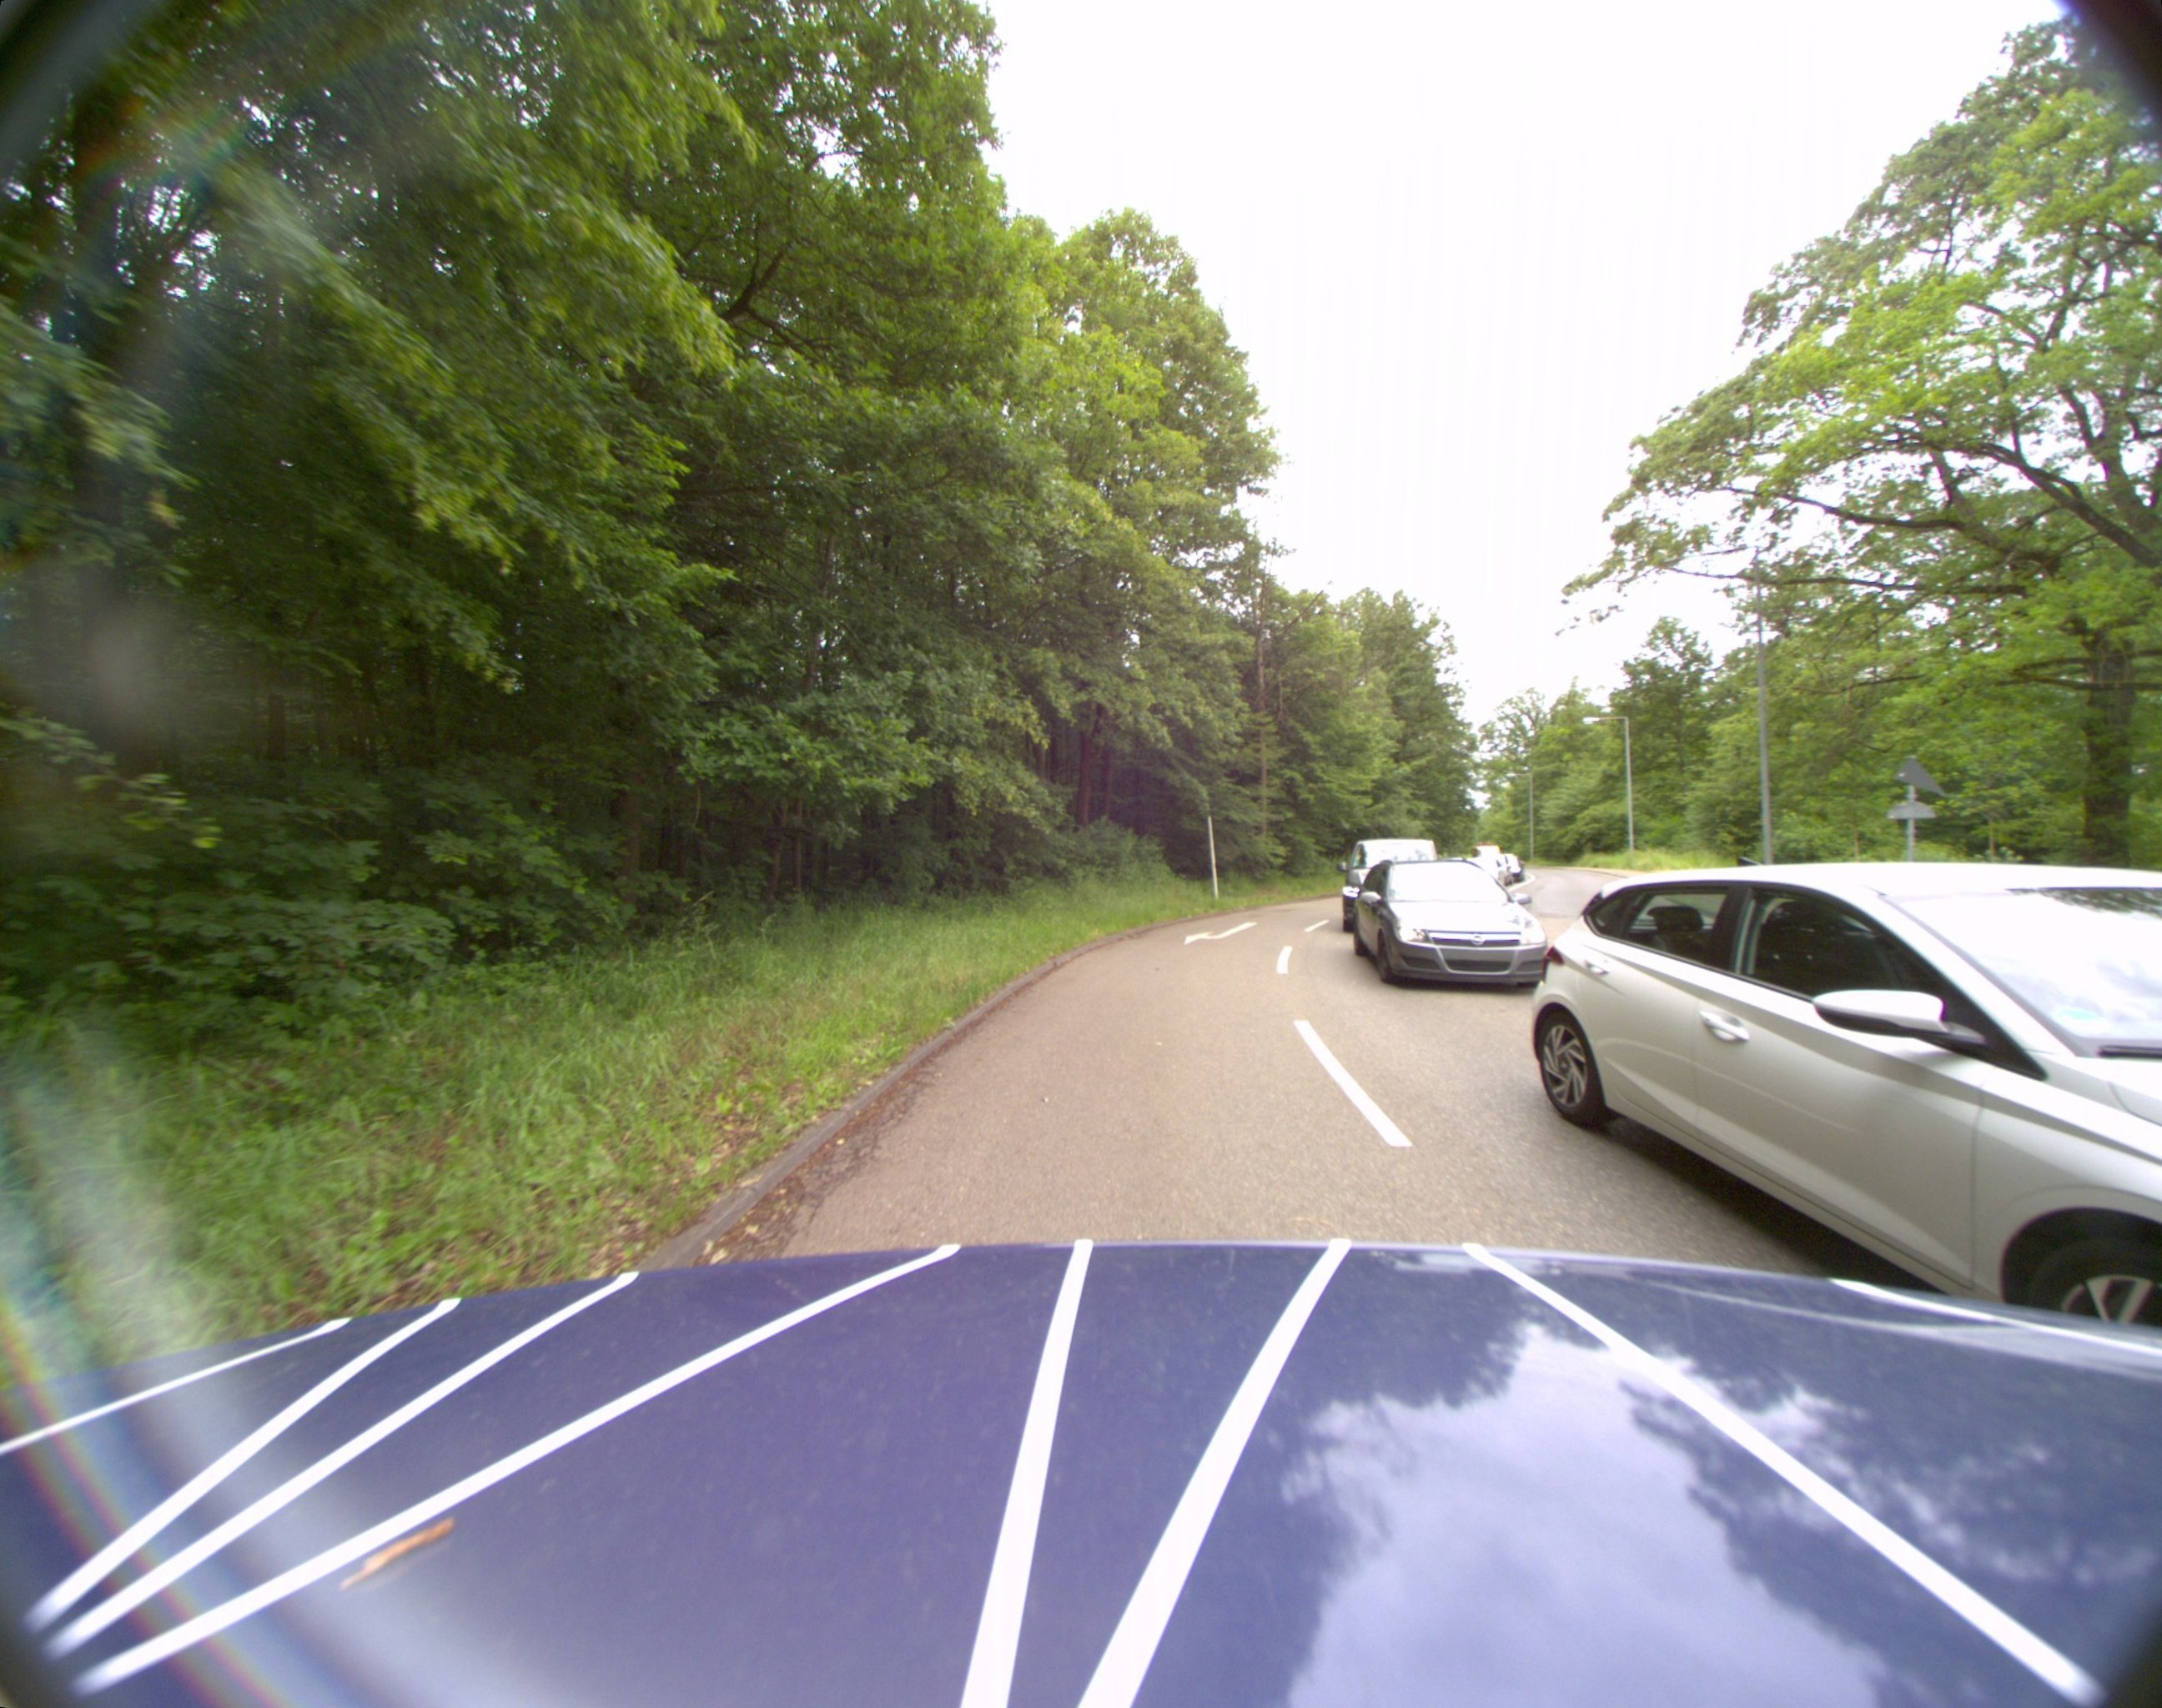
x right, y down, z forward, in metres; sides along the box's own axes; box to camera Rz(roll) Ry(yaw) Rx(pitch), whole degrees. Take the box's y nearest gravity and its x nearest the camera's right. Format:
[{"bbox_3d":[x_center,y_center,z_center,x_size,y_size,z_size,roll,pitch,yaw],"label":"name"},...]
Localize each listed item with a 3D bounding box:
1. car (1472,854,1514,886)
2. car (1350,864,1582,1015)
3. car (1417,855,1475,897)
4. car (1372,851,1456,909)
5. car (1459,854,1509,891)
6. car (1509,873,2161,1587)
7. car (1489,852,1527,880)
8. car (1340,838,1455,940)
[{"bbox_3d":[20.716,0.761,38.175,1.775,1.491,3.880,0,0,29],"label":"car"},{"bbox_3d":[4.705,0.890,9.999,1.801,1.470,4.475,0,0,15],"label":"car"},{"bbox_3d":[14.090,0.798,29.218,1.775,1.491,3.880,0,0,29],"label":"car"},{"bbox_3d":[10.563,0.765,23.952,1.789,1.664,3.999,-1,0,32],"label":"car"},{"bbox_3d":[17.180,0.755,32.338,1.775,1.491,3.880,0,0,29],"label":"car"},{"bbox_3d":[3.290,0.851,2.683,1.653,1.470,4.075,0,0,7],"label":"car"},{"bbox_3d":[23.848,0.649,42.467,1.775,1.491,3.880,0,0,29],"label":"car"},{"bbox_3d":[6.858,0.645,16.347,1.987,1.861,4.539,0,0,25],"label":"car"}]
